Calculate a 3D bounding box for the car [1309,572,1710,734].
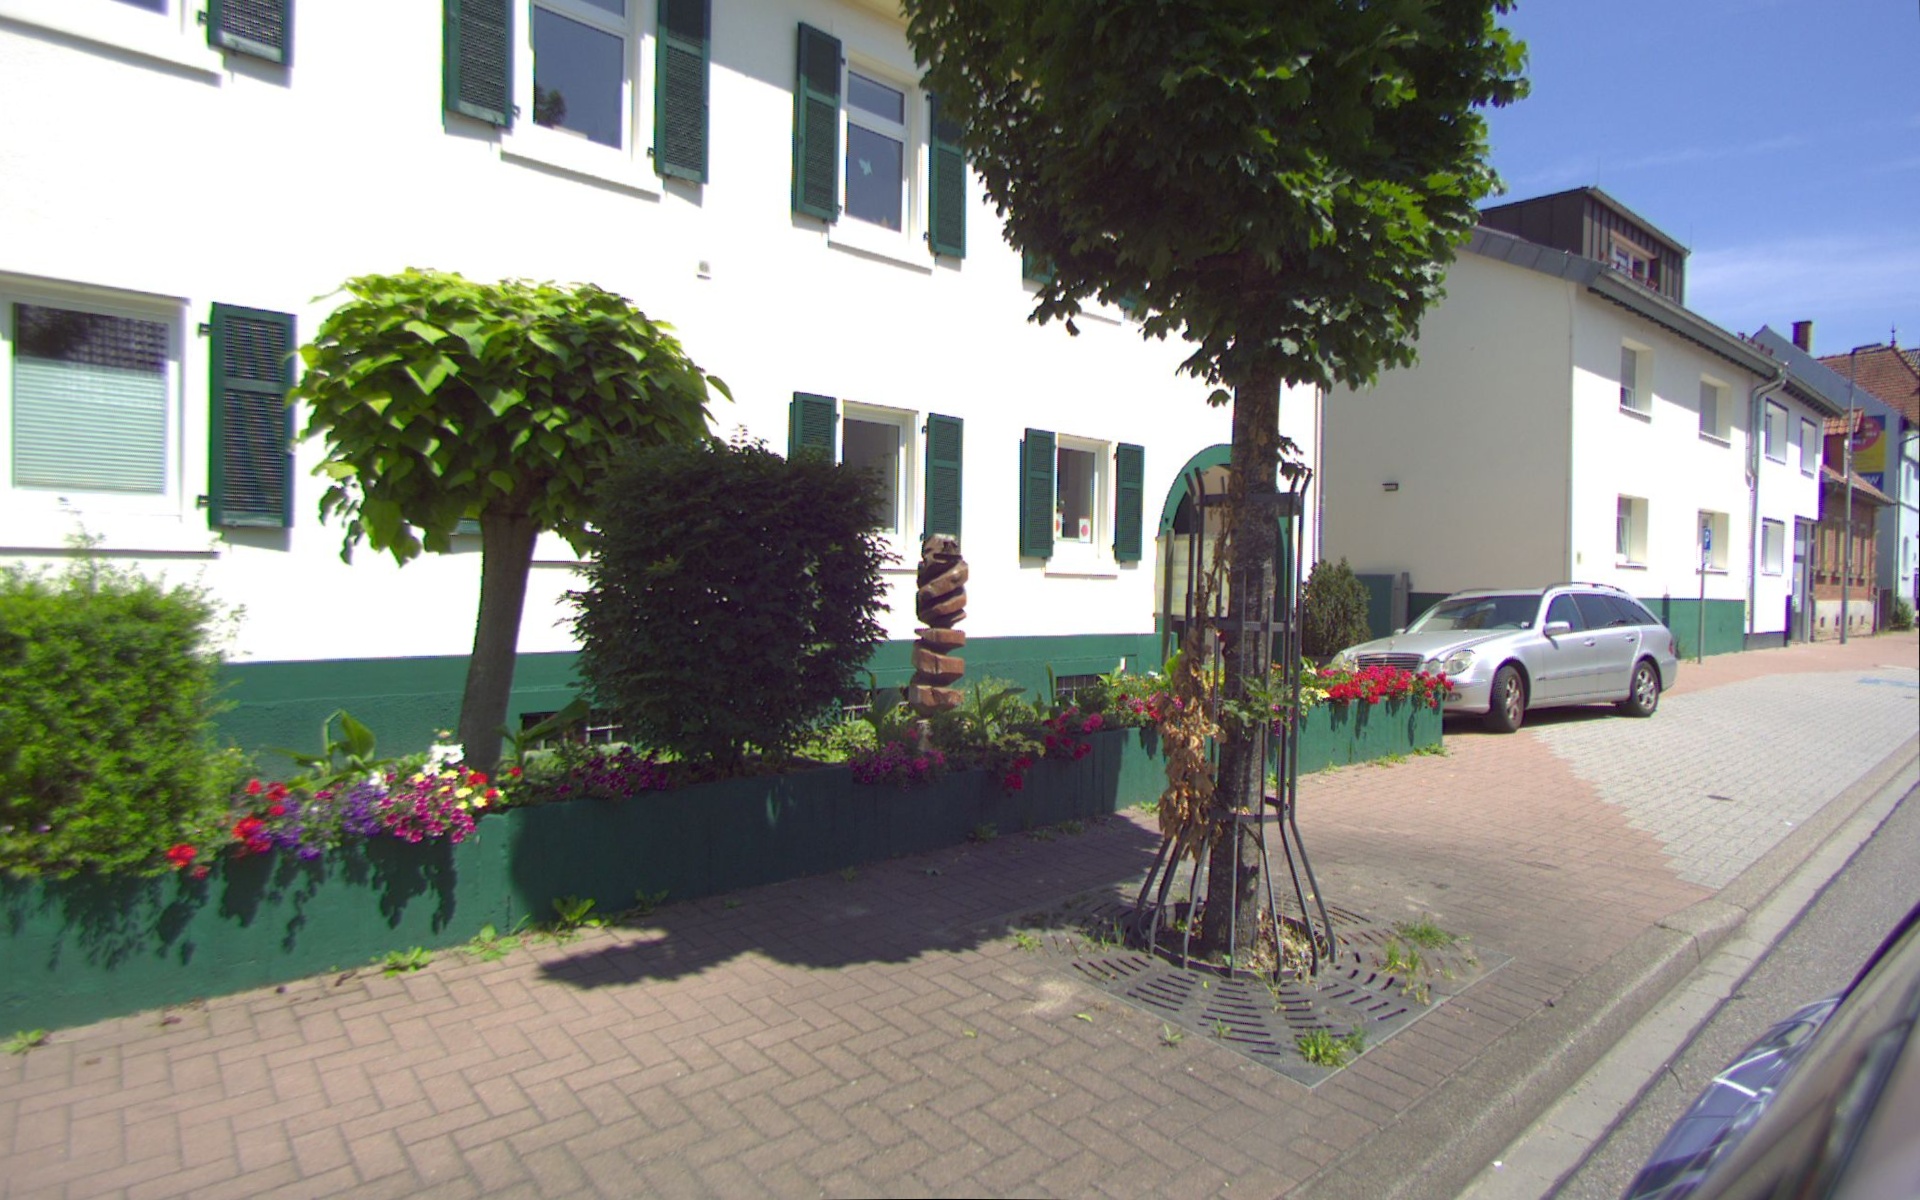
[{"bbox_3d":[6.268,0.504,11.364,4.789,1.482,1.821,-1,-3,-33],"label":"car"}]
